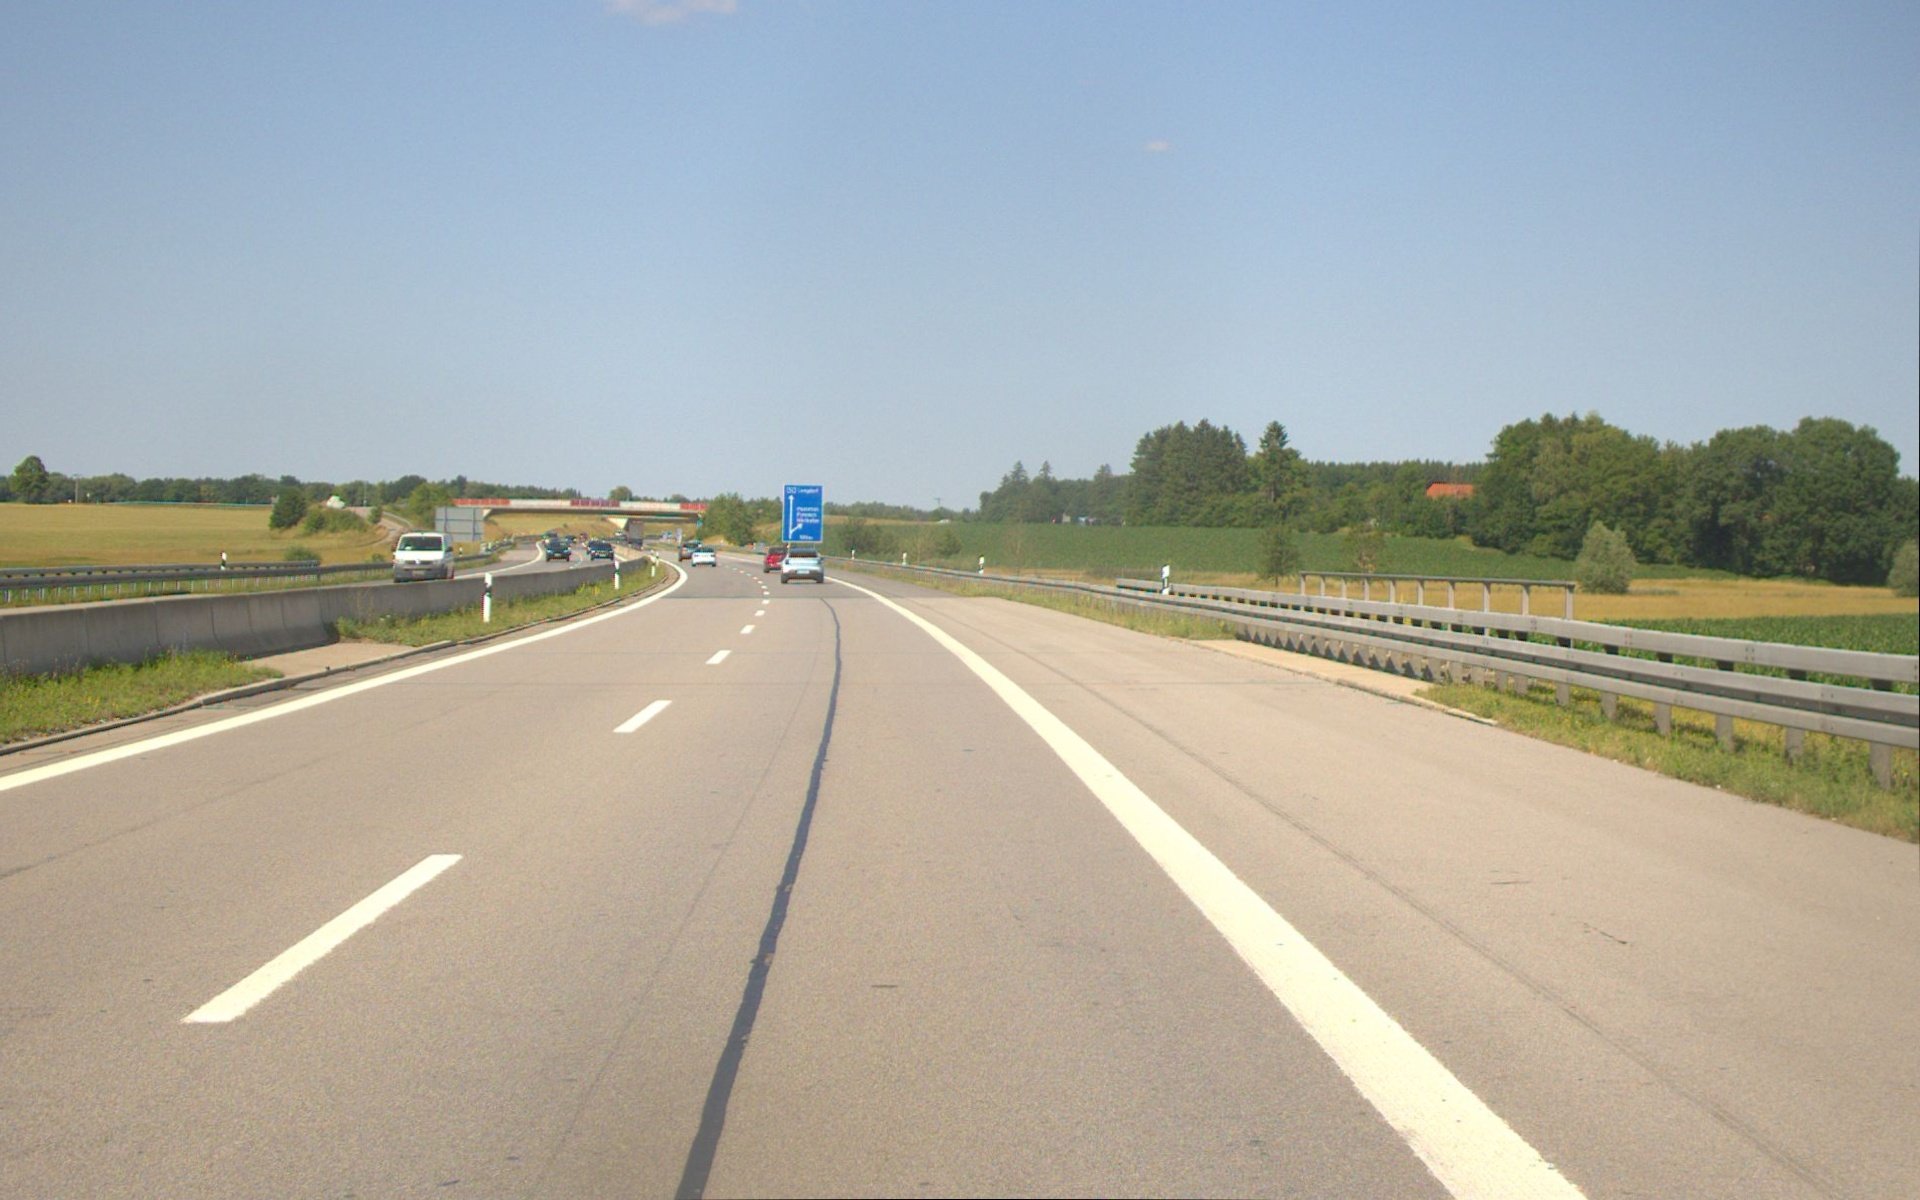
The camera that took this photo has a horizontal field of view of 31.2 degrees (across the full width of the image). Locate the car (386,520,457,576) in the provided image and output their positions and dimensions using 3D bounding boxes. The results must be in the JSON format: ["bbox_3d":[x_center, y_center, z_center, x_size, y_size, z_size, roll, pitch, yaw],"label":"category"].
[{"bbox_3d":[-19.809,-1.881,126.655,1.993,2.007,5.614,0,0,-3],"label":"car"}]

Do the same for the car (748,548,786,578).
[{"bbox_3d":[-11.447,-2.216,203.763,1.993,1.725,4.870,1,1,-6],"label":"car"}]

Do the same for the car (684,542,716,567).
[{"bbox_3d":[-18.786,-3.275,248.039,1.993,1.725,4.870,1,1,-8],"label":"car"}]

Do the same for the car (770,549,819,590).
[{"bbox_3d":[-7.382,-1.365,153.263,1.993,1.725,4.870,1,1,-5],"label":"car"}]
